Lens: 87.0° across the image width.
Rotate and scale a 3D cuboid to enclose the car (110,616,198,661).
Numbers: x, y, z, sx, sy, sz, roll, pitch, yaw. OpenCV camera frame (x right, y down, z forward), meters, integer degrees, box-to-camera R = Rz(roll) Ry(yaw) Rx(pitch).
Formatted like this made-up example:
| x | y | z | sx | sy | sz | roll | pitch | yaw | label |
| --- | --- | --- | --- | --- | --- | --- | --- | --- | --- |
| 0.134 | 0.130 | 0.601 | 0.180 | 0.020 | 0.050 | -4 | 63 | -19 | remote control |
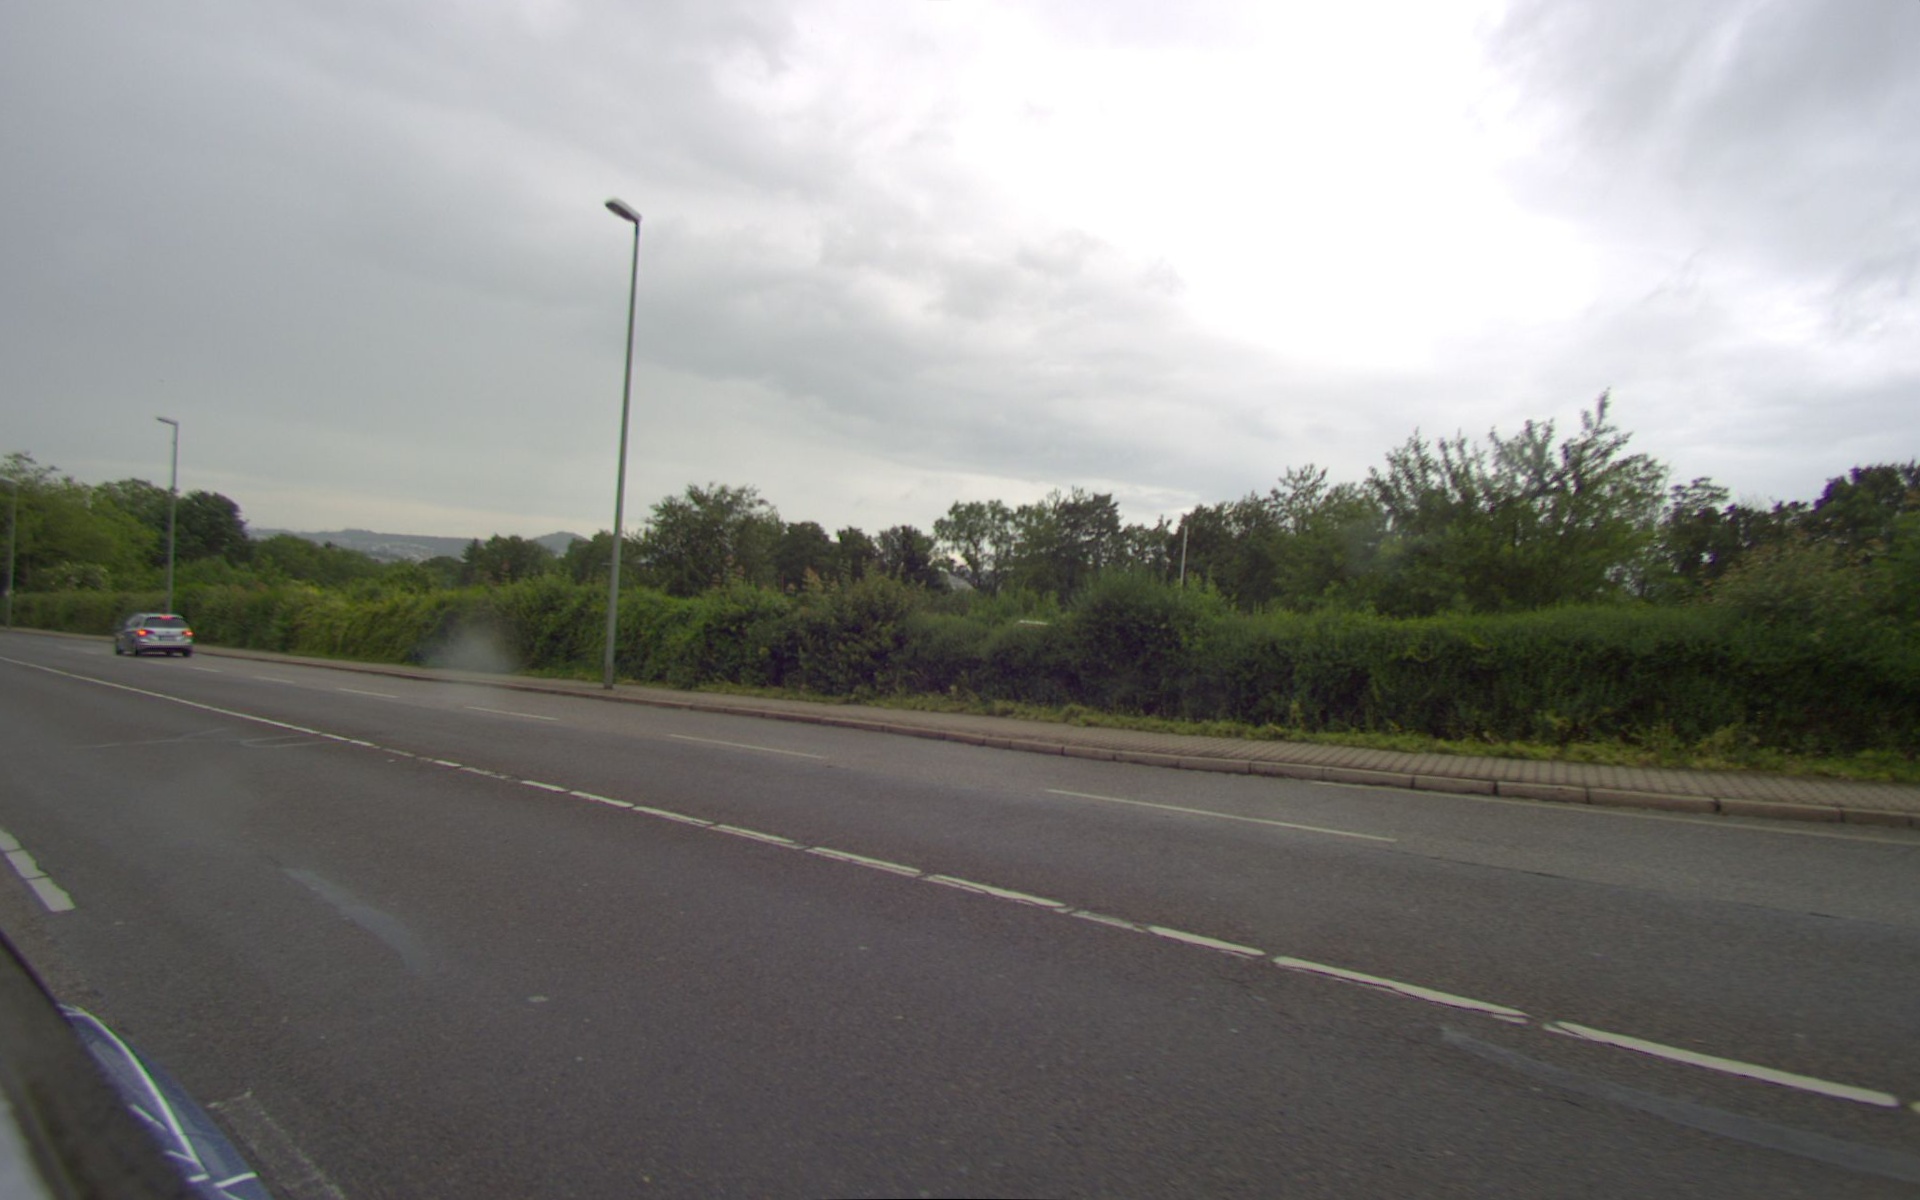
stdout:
| x | y | z | sx | sy | sz | roll | pitch | yaw | label |
| --- | --- | --- | --- | --- | --- | --- | --- | --- | --- |
| -30.103 | 1.437 | 37.785 | 3.996 | 1.580 | 1.738 | 0 | -3 | 40 | car |
